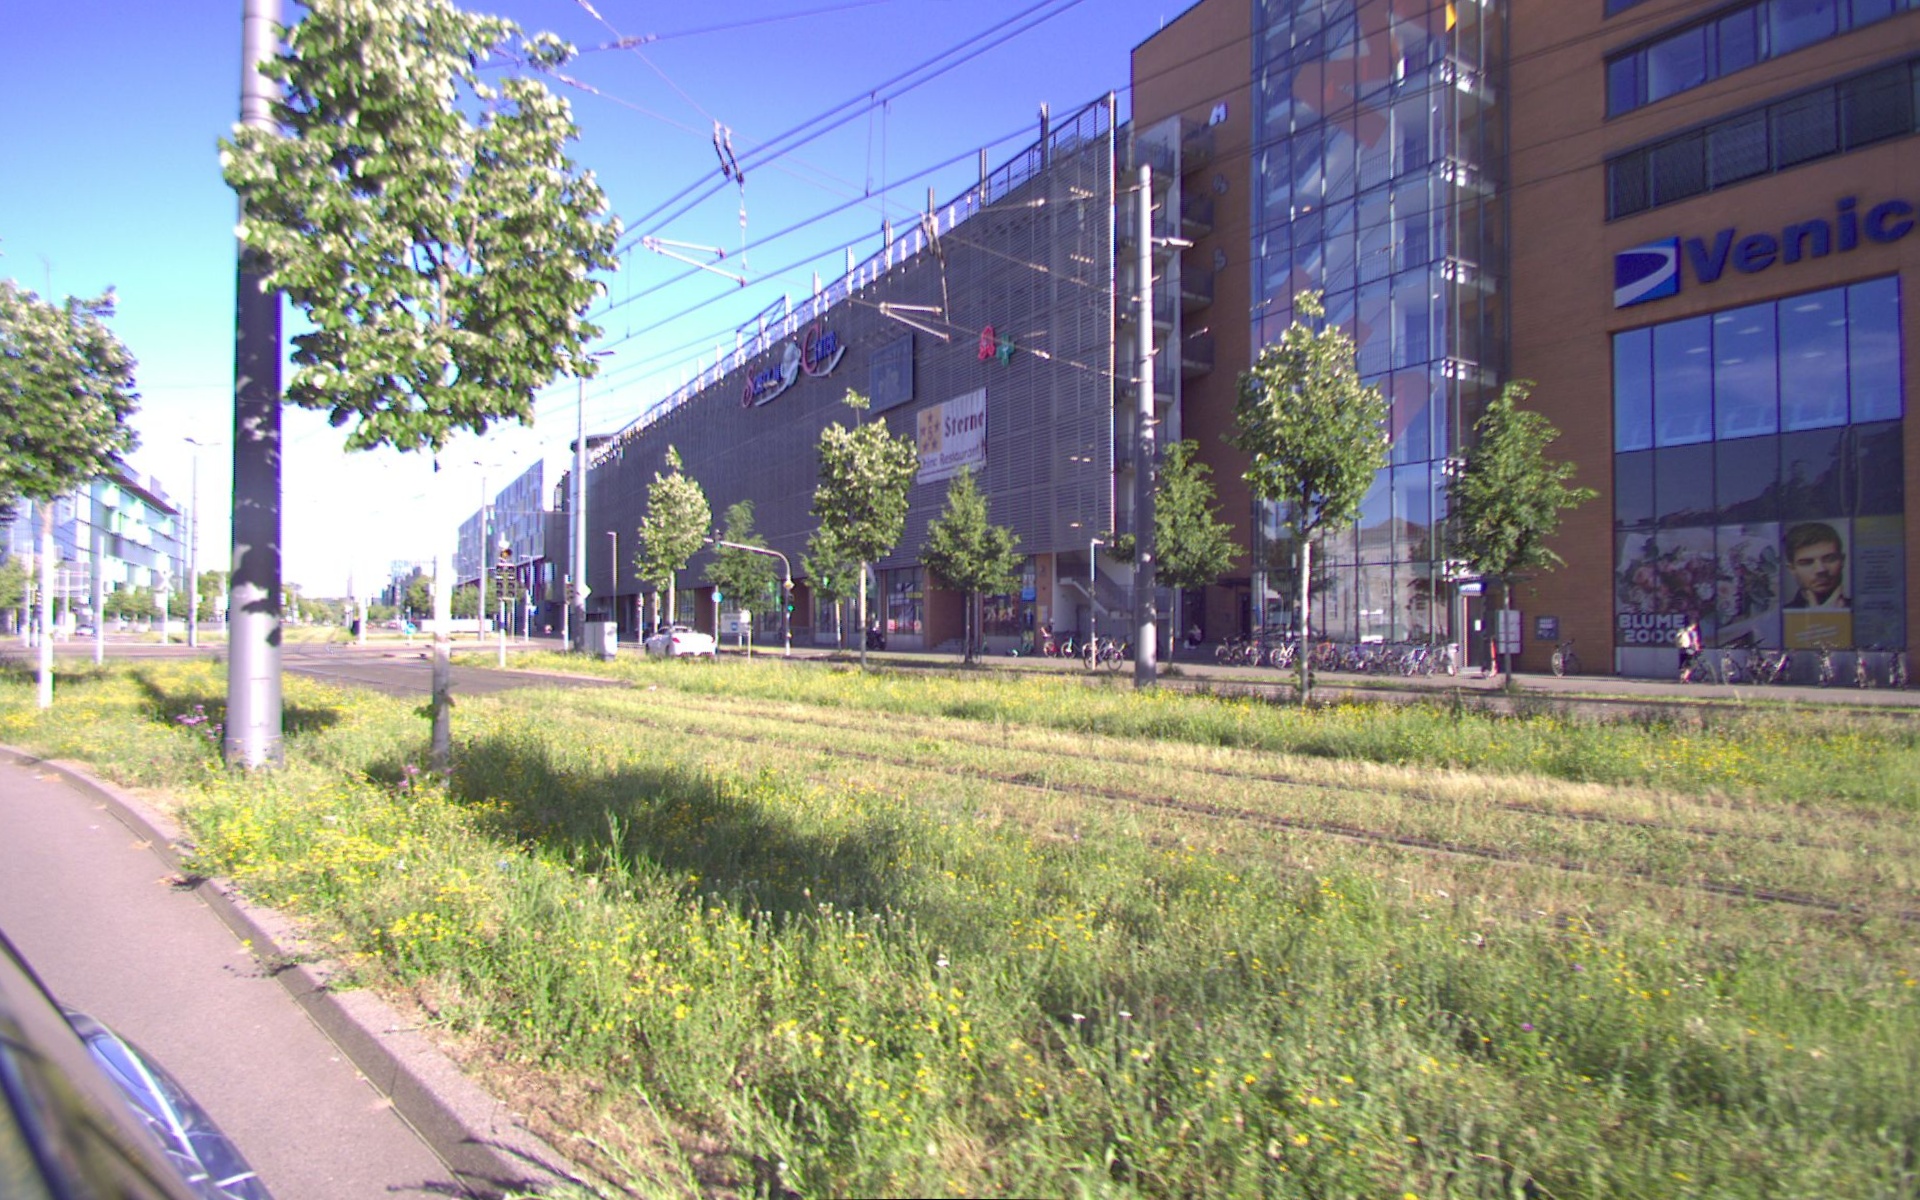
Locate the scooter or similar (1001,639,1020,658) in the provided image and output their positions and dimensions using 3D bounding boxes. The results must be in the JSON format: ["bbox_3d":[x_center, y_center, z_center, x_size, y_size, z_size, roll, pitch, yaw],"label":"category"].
[{"bbox_3d":[2.333,2.230,46.650,0.891,0.900,0.290,0,-1,8],"label":"scooter or similar"}]

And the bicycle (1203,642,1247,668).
[{"bbox_3d":[9.736,2.009,37.179,1.741,0.933,0.492,1,-2,-33],"label":"bicycle"}]

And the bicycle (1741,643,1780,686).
[{"bbox_3d":[21.126,1.687,26.685,1.744,1.057,0.491,1,-2,-42],"label":"bicycle"}]

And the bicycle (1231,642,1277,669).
[{"bbox_3d":[10.490,1.973,36.074,1.741,0.933,0.566,1,-2,-33],"label":"bicycle"}]

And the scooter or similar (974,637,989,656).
[{"bbox_3d":[1.062,2.260,49.134,0.286,0.900,0.904,1,-2,-32],"label":"scooter or similar"}]

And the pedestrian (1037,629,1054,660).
[{"bbox_3d":[3.738,1.945,44.345,0.442,1.299,0.631,1,-2,-36],"label":"pedestrian"}]

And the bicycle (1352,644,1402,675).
[{"bbox_3d":[13.268,1.886,32.197,1.741,0.933,0.566,1,-2,-33],"label":"bicycle"}]

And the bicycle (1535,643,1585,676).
[{"bbox_3d":[18.030,1.779,30.416,1.741,0.933,0.566,1,-2,-33],"label":"bicycle"}]

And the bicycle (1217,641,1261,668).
[{"bbox_3d":[10.106,1.981,36.670,1.741,0.933,0.492,1,-2,-33],"label":"bicycle"}]

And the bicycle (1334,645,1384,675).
[{"bbox_3d":[12.922,1.923,32.744,1.741,0.933,0.566,1,-2,-33],"label":"bicycle"}]

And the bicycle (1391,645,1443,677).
[{"bbox_3d":[14.031,1.870,31.061,1.741,0.933,0.566,1,-2,-33],"label":"bicycle"}]

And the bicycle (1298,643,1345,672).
[{"bbox_3d":[12.137,1.907,33.958,1.741,0.933,0.492,1,-2,-33],"label":"bicycle"}]

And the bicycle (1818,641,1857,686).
[{"bbox_3d":[22.078,1.584,25.451,1.744,1.057,0.491,1,-2,-42],"label":"bicycle"}]

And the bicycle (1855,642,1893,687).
[{"bbox_3d":[22.542,1.575,24.956,1.744,1.057,0.491,1,-2,-42],"label":"bicycle"}]

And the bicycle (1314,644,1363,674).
[{"bbox_3d":[12.503,1.932,33.392,1.741,0.933,0.566,1,-2,-33],"label":"bicycle"}]

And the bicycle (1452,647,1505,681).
[{"bbox_3d":[15.095,1.857,29.434,1.741,0.933,0.566,1,-2,-33],"label":"bicycle"}]

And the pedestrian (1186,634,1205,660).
[{"bbox_3d":[9.811,1.950,42.150,0.619,1.063,0.450,1,-2,-36],"label":"pedestrian"}]

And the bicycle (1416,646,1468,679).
[{"bbox_3d":[14.465,1.860,30.365,1.741,0.933,0.566,1,-2,-33],"label":"bicycle"}]

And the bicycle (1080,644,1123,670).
[{"bbox_3d":[4.985,2.004,35.775,0.380,0.875,1.775,1,-2,-36],"label":"bicycle"}]

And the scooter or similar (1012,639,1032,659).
[{"bbox_3d":[2.805,2.195,45.719,0.890,0.900,0.290,0,-1,5],"label":"scooter or similar"}]

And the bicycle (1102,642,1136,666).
[{"bbox_3d":[6.426,2.158,40.868,1.377,0.933,0.463,1,-2,-33],"label":"bicycle"}]

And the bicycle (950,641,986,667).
[{"bbox_3d":[0.306,2.036,38.417,0.380,0.930,1.775,1,-2,-36],"label":"bicycle"}]

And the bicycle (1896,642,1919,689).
[{"bbox_3d":[23.001,1.566,24.366,1.744,1.057,0.491,1,-2,-42],"label":"bicycle"}]

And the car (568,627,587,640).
[{"bbox_3d":[-42.797,3.701,113.208,1.663,1.382,3.602,1,-1,-27],"label":"car"}]

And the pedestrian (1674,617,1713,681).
[{"bbox_3d":[19.656,1.309,27.119,0.736,1.681,0.676,1,-2,-43],"label":"pedestrian"}]

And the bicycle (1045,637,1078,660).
[{"bbox_3d":[4.306,2.058,42.939,1.377,0.933,0.463,1,-2,-33],"label":"bicycle"}]

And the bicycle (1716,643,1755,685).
[{"bbox_3d":[20.769,1.694,27.078,1.744,1.057,0.491,1,-2,-42],"label":"bicycle"}]

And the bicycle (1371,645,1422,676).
[{"bbox_3d":[13.650,1.878,31.628,1.741,0.933,0.566,1,-2,-33],"label":"bicycle"}]

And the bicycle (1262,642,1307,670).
[{"bbox_3d":[11.275,1.936,35.106,1.741,0.933,0.492,1,-2,-33],"label":"bicycle"}]

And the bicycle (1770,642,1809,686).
[{"bbox_3d":[21.519,1.641,26.251,1.744,1.057,0.491,1,-2,-42],"label":"bicycle"}]

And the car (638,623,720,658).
[{"bbox_3d":[-11.497,1.632,41.189,1.782,1.338,4.415,2,-2,-36],"label":"car"}]

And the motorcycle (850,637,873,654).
[{"bbox_3d":[-5.624,2.585,57.634,0.421,0.927,2.030,1,-2,-33],"label":"motorcycle"}]

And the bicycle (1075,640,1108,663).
[{"bbox_3d":[5.459,2.140,42.017,1.377,0.933,0.463,1,-2,-33],"label":"bicycle"}]

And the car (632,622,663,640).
[{"bbox_3d":[-28.781,2.843,93.237,1.559,1.541,3.759,-1,0,-37],"label":"car"}]

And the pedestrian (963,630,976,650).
[{"bbox_3d":[0.505,2.100,52.771,0.557,1.046,0.425,1,-2,-26],"label":"pedestrian"}]
